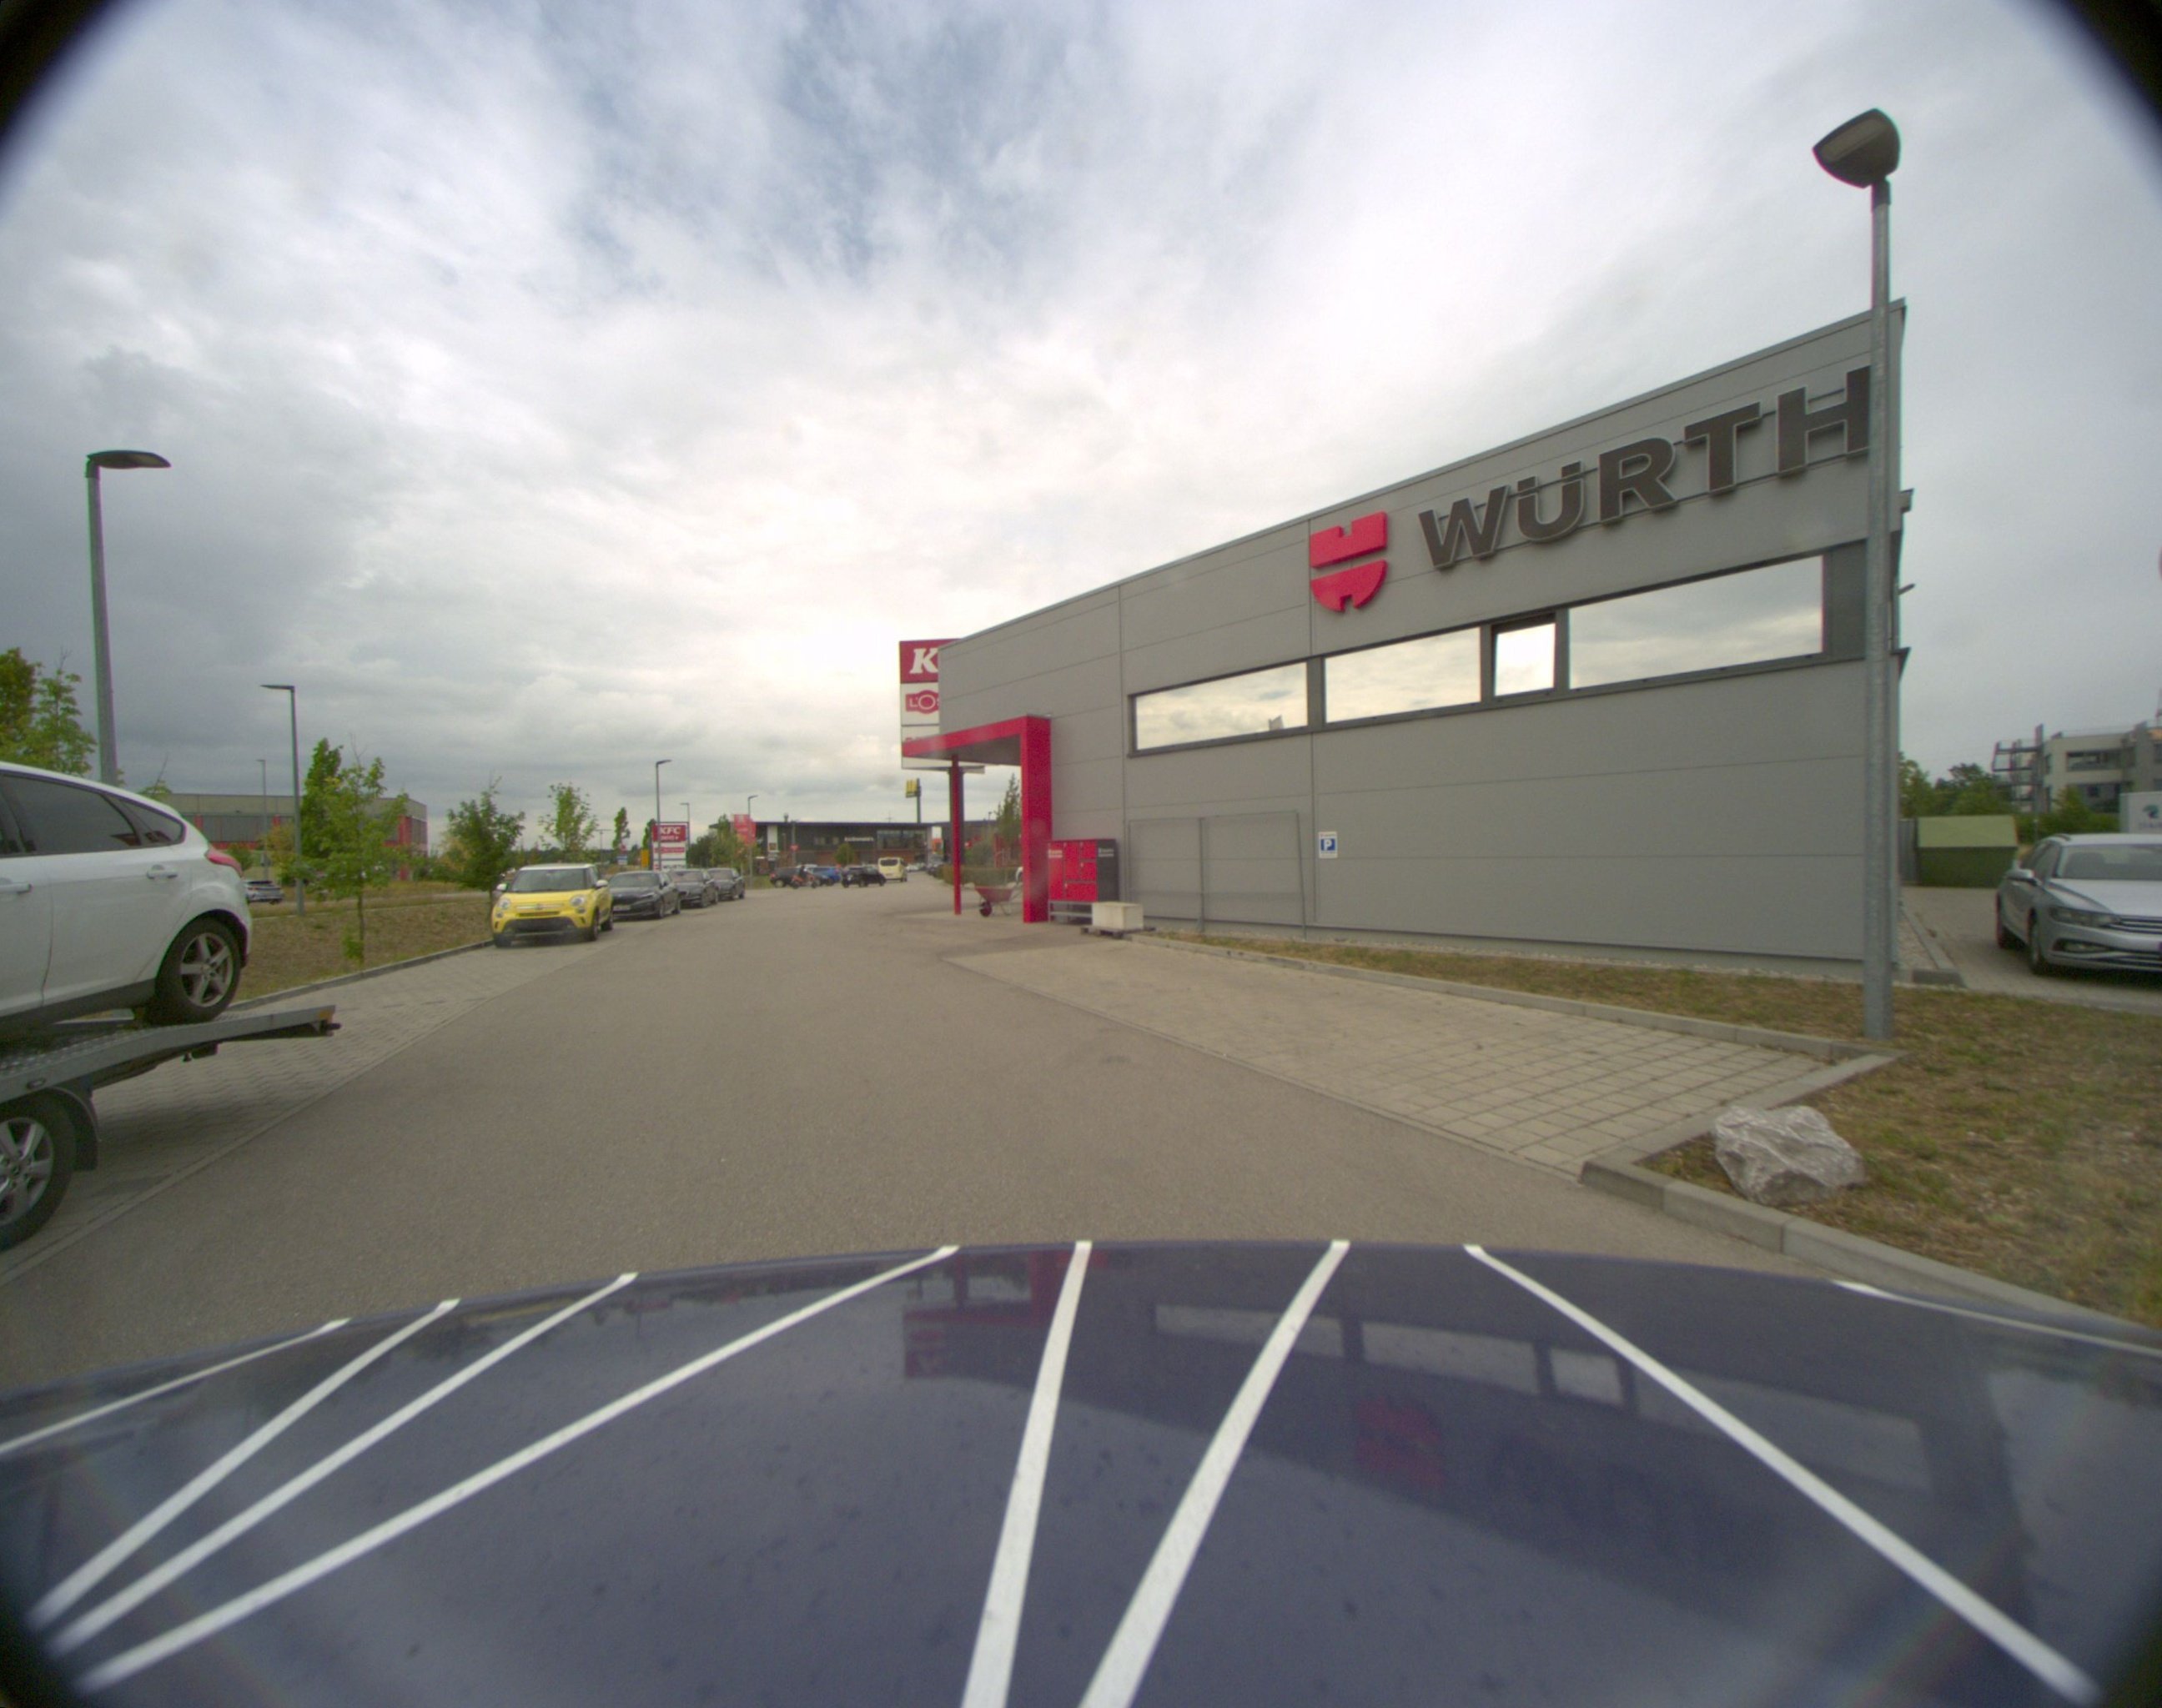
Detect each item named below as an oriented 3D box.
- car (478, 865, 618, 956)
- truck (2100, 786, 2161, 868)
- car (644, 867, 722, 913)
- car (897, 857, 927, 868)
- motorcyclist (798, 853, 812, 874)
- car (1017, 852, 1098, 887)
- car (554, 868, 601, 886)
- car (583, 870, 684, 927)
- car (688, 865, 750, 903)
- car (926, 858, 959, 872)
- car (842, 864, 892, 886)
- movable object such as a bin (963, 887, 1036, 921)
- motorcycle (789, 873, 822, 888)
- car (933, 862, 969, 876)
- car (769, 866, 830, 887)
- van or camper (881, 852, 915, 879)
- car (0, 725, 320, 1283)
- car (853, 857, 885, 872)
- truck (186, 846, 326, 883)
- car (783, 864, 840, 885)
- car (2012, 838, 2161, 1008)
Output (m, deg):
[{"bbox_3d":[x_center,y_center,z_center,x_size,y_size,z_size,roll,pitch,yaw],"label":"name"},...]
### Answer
[{"bbox_3d":[-11.616,1.109,16.862,1.755,1.673,4.290,-2,0,-25],"label":"car"},{"bbox_3d":[40.638,-1.001,26.038,2.434,2.999,7.072,-2,0,7],"label":"truck"},{"bbox_3d":[-14.999,1.301,28.874,1.754,1.482,4.626,-2,0,-17],"label":"car"},{"bbox_3d":[-26.312,1.316,118.371,3.992,1.652,2.002,-2,1,16],"label":"car"},{"bbox_3d":[-17.838,0.598,49.162,0.674,1.308,0.574,-2,1,-41],"label":"motorcyclist"},{"bbox_3d":[-1.357,0.835,41.380,1.762,1.738,4.729,-2,0,-42],"label":"car"},{"bbox_3d":[-39.839,1.798,60.240,1.761,1.346,3.995,-1,0,-13],"label":"car"},{"bbox_3d":[-13.292,1.250,22.833,1.754,1.407,4.299,-2,0,-19],"label":"car"},{"bbox_3d":[-16.330,1.316,34.501,1.754,1.482,4.481,-2,0,-16],"label":"car"},{"bbox_3d":[-19.374,1.554,106.178,4.005,1.827,1.996,-2,1,-28],"label":"car"},{"bbox_3d":[-14.471,1.386,51.485,1.503,1.438,3.131,0,0,26],"label":"car"},{"bbox_3d":[-1.962,1.193,18.442,1.588,0.712,0.801,-1,0,-43],"label":"movable object such as a bin"},{"bbox_3d":[-17.825,1.715,49.158,1.872,0.911,0.555,-2,0,-40],"label":"motorcycle"},{"bbox_3d":[-13.559,1.536,79.109,3.447,1.288,1.497,-2,1,-23],"label":"car"},{"bbox_3d":[-20.753,1.652,56.190,4.002,1.412,1.808,-2,0,-15],"label":"car"},{"bbox_3d":[-15.107,0.921,62.860,1.859,2.049,5.232,-2,0,-5],"label":"van or camper"},{"bbox_3d":[-4.910,0.614,1.182,2.203,2.309,7.843,-1,0,-21],"label":"car"},{"bbox_3d":[-31.175,1.508,111.899,3.992,2.002,2.002,-2,1,16],"label":"car"},{"bbox_3d":[-70.889,0.829,65.621,2.677,2.928,8.185,-1,1,5],"label":"truck"},{"bbox_3d":[-20.839,1.584,58.953,4.002,1.412,1.808,-2,0,-15],"label":"car"},{"bbox_3d":[11.674,0.595,8.131,4.779,1.483,1.975,-2,3,-37],"label":"car"}]
